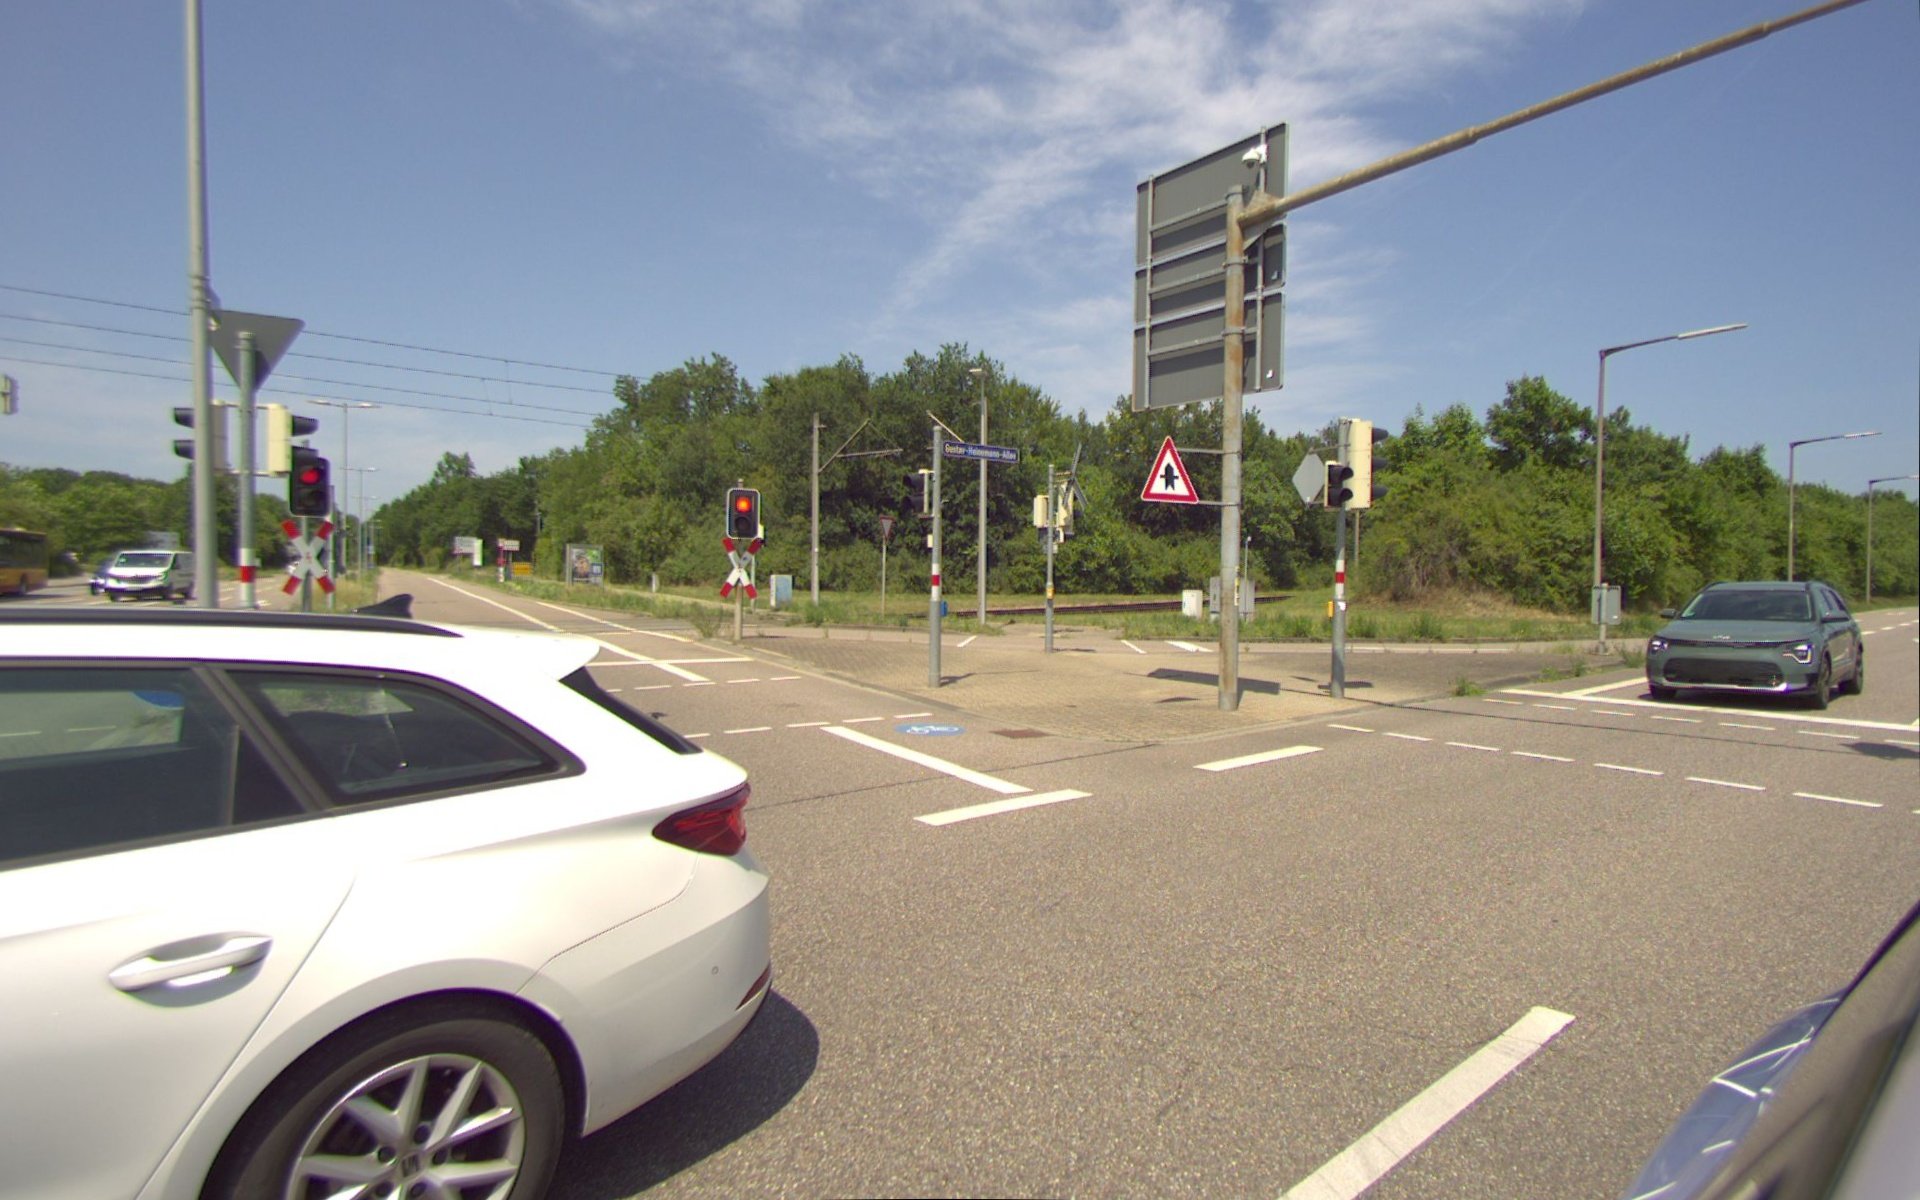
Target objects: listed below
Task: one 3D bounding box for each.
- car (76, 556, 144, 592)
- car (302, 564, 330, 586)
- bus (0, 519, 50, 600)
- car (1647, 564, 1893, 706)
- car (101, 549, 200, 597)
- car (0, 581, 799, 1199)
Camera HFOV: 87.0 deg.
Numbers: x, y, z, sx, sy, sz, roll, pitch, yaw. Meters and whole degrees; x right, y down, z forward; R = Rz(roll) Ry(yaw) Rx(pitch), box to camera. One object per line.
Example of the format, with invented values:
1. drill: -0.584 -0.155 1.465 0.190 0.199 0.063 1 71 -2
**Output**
1. car: -39.385 -1.210 46.975 1.640 1.599 4.006 0 1 -29
2. car: -53.874 -2.091 84.642 1.961 1.812 4.002 0 1 -33
3. bus: -38.727 -1.552 38.974 2.782 3.158 12.094 -1 2 -29
4. car: 10.880 0.358 13.513 3.927 1.616 1.723 -1 2 -38
5. car: -32.093 -1.042 40.270 1.790 1.750 5.082 -1 1 -24
6. car: -2.596 0.679 1.756 4.373 1.407 1.685 -1 2 -41
